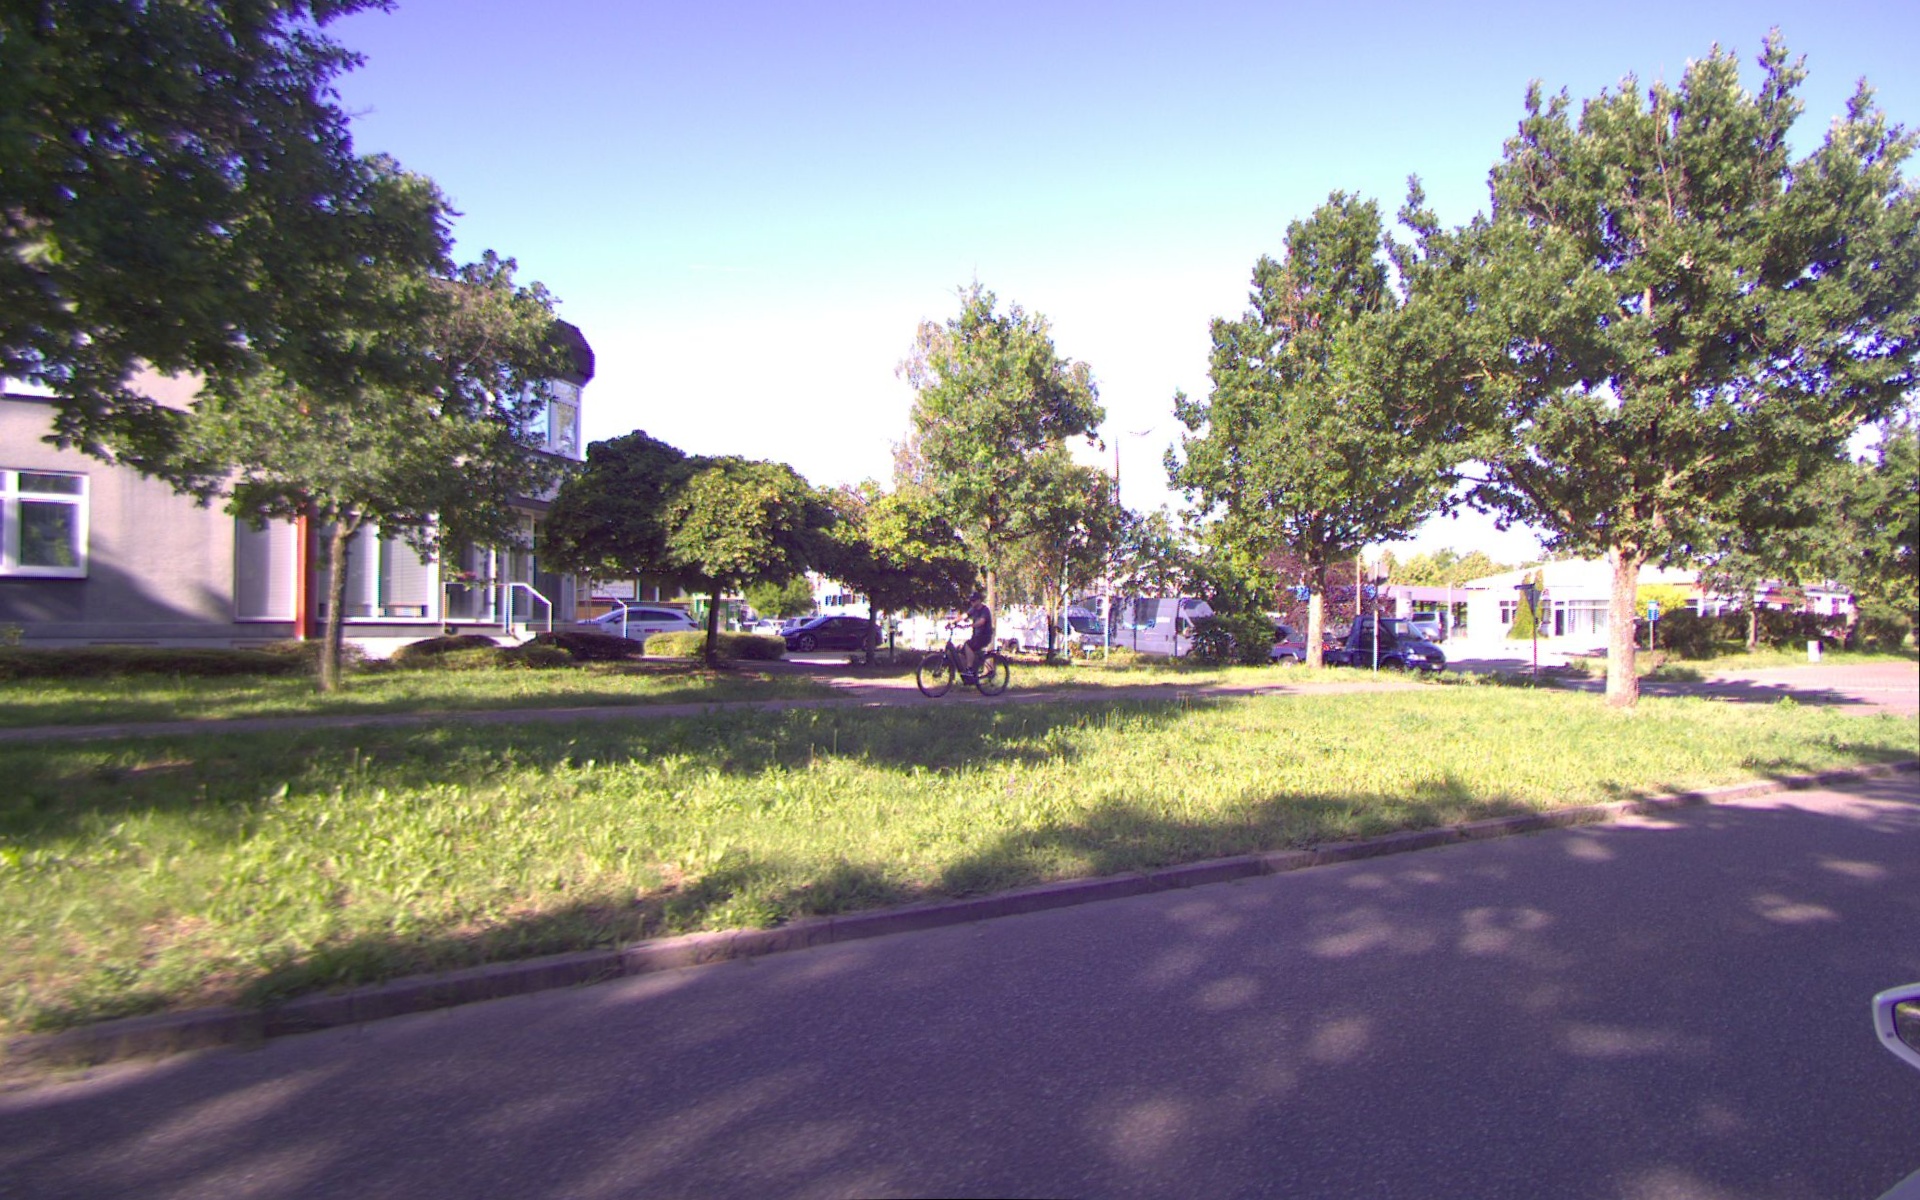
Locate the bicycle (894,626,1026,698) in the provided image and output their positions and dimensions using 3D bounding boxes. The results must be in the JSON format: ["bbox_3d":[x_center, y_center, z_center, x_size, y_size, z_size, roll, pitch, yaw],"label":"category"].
[{"bbox_3d":[0.029,1.077,17.437,2.307,1.177,0.548,2,0,-30],"label":"bicycle"}]

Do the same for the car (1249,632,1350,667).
[{"bbox_3d":[15.551,2.234,46.194,1.807,1.501,4.163,1,-1,-35],"label":"car"}]

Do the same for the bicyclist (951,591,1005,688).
[{"bbox_3d":[0.314,0.684,17.645,0.651,1.650,0.661,2,0,-30],"label":"bicyclist"}]

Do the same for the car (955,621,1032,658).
[{"bbox_3d":[2.118,2.542,65.811,2.279,2.132,5.307,2,0,-35],"label":"car"}]

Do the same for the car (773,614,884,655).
[{"bbox_3d":[-5.635,1.502,43.158,4.254,1.514,1.982,4,-1,-33],"label":"car"}]

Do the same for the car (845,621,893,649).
[{"bbox_3d":[-5.516,2.101,60.716,1.497,1.594,3.109,1,-1,-38],"label":"car"}]

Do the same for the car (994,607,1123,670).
[{"bbox_3d":[4.372,1.680,45.807,2.279,2.549,6.295,2,0,-35],"label":"car"}]

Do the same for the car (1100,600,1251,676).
[{"bbox_3d":[8.464,1.436,40.071,2.279,2.738,5.822,2,0,-35],"label":"car"}]

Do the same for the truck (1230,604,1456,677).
[{"bbox_3d":[12.648,1.273,33.819,2.121,2.077,7.059,2,0,-37],"label":"truck"}]

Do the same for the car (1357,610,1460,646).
[{"bbox_3d":[27.420,1.689,61.546,2.278,2.097,5.373,1,-1,-35],"label":"car"}]

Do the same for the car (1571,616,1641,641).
[{"bbox_3d":[42.761,1.873,66.534,1.578,1.517,3.570,2,-1,-37],"label":"car"}]

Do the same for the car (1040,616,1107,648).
[{"bbox_3d":[7.122,1.991,63.316,1.867,1.910,4.210,1,-1,-35],"label":"car"}]

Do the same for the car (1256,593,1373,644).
[{"bbox_3d":[20.300,1.009,57.824,2.279,2.738,6.118,2,0,-35],"label":"car"}]

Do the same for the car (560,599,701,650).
[{"bbox_3d":[-11.437,0.868,34.930,4.254,1.514,1.982,4,-1,-33],"label":"car"}]
